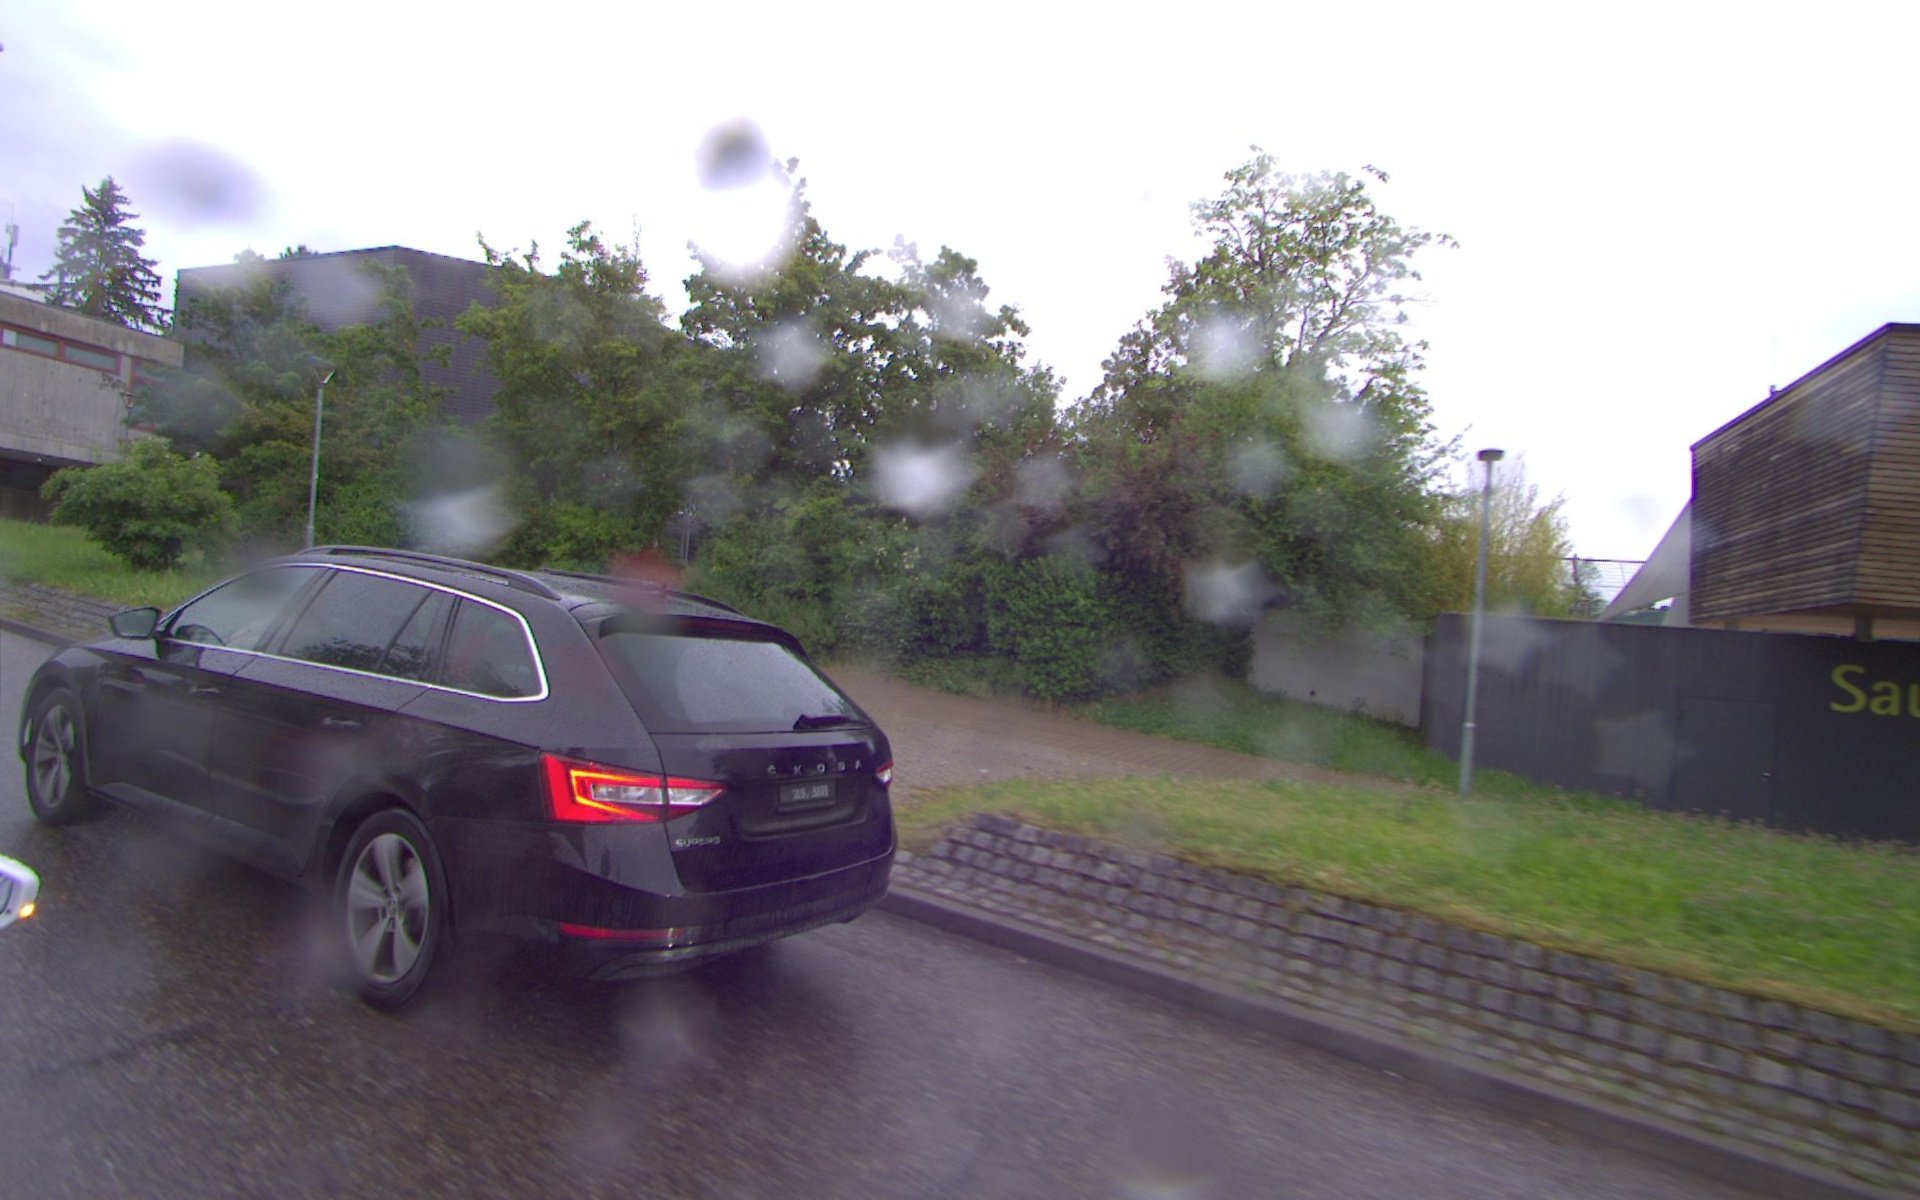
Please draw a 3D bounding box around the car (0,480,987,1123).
[{"bbox_3d":[-2.397,0.478,4.548,4.532,1.523,1.959,6,-4,31],"label":"car"}]
